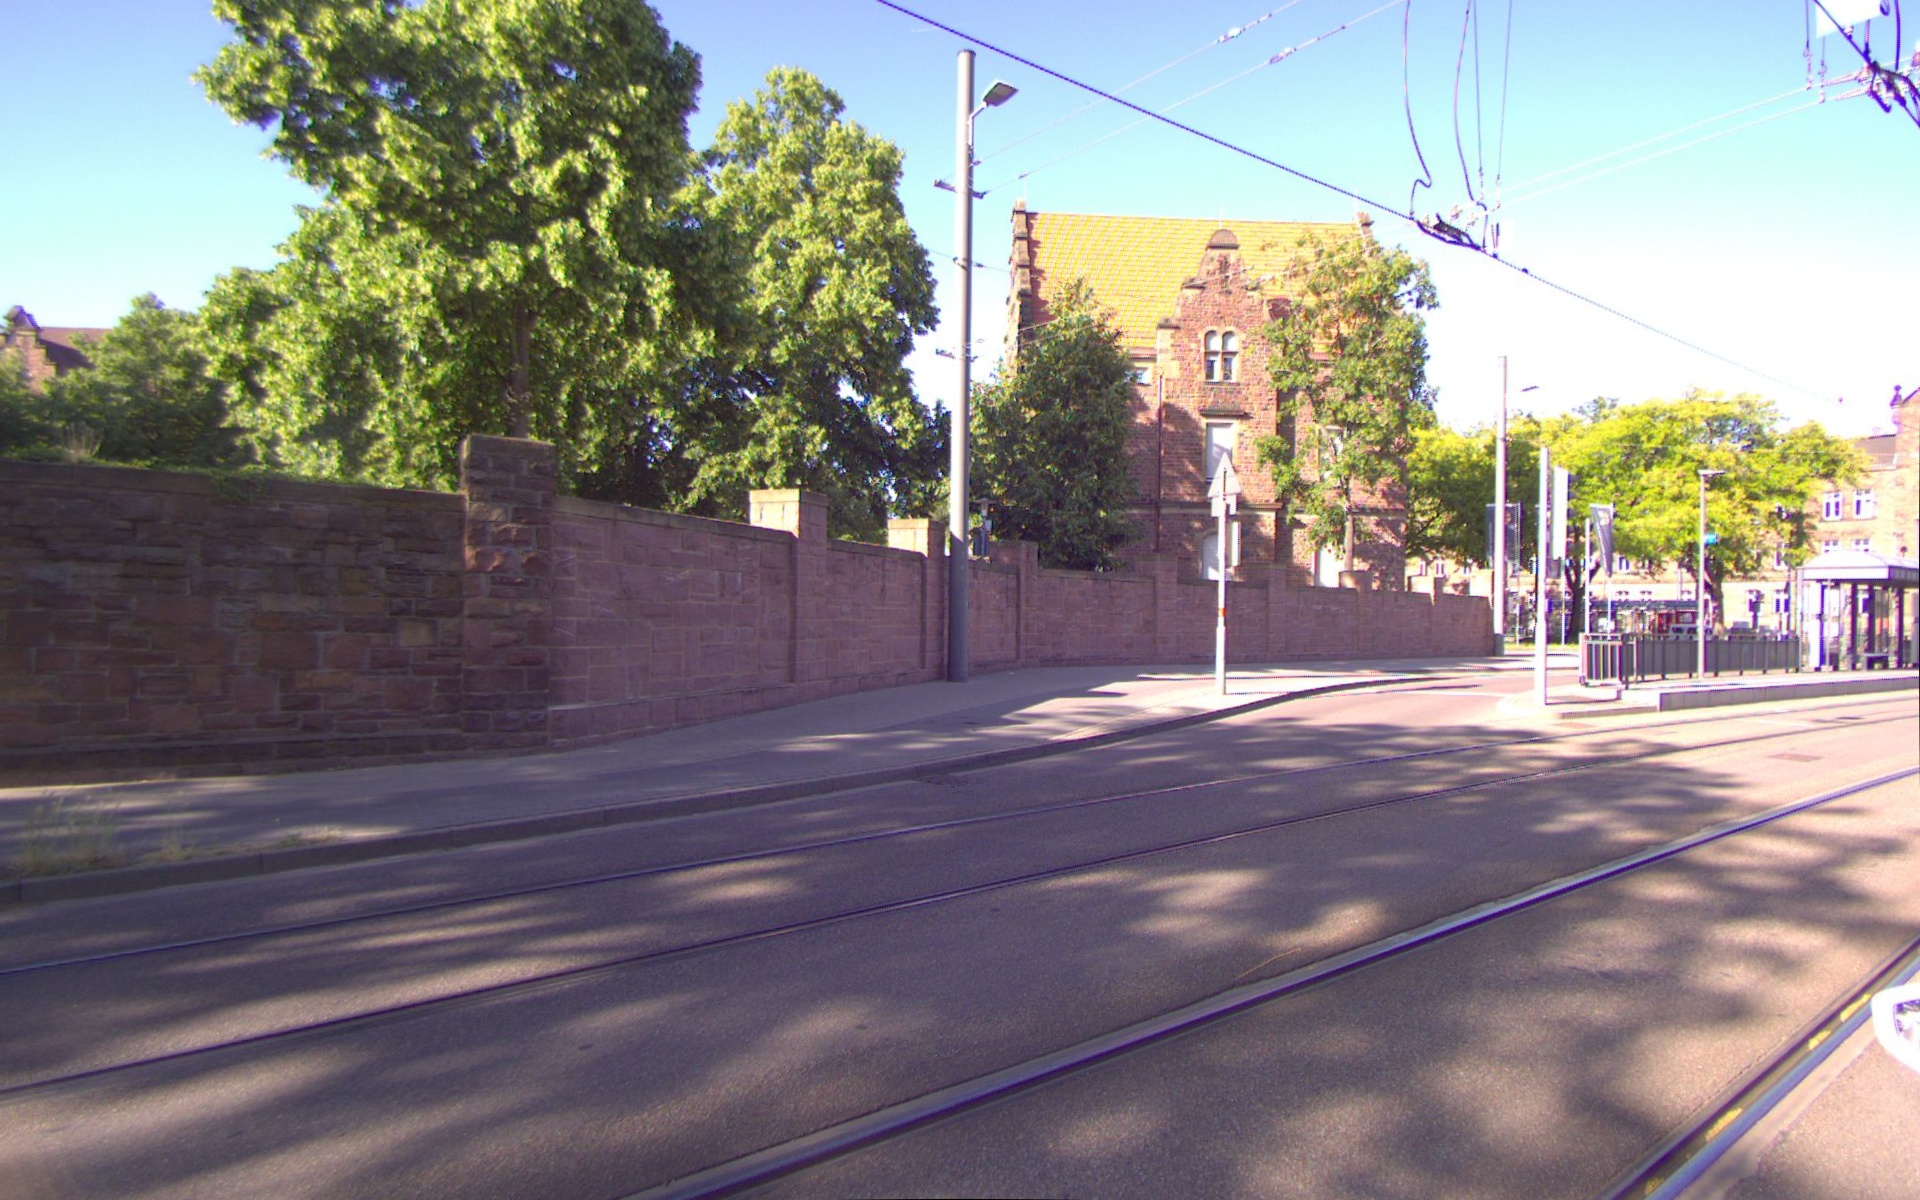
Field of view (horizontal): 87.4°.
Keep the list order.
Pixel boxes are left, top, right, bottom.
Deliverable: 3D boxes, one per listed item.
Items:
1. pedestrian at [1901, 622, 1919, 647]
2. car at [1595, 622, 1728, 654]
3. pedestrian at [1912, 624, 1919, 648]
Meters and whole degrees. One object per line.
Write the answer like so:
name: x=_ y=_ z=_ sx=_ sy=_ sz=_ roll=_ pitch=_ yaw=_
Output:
pedestrian: x=64.437 y=2.345 z=67.996 sx=0.798 sy=1.609 sz=0.924 roll=2 pitch=0 yaw=-40
car: x=47.930 y=2.588 z=68.804 sx=2.957 sy=1.946 sz=6.915 roll=1 pitch=-1 yaw=-30
pedestrian: x=65.324 y=2.442 z=68.042 sx=0.789 sy=1.609 sz=0.935 roll=2 pitch=0 yaw=0
